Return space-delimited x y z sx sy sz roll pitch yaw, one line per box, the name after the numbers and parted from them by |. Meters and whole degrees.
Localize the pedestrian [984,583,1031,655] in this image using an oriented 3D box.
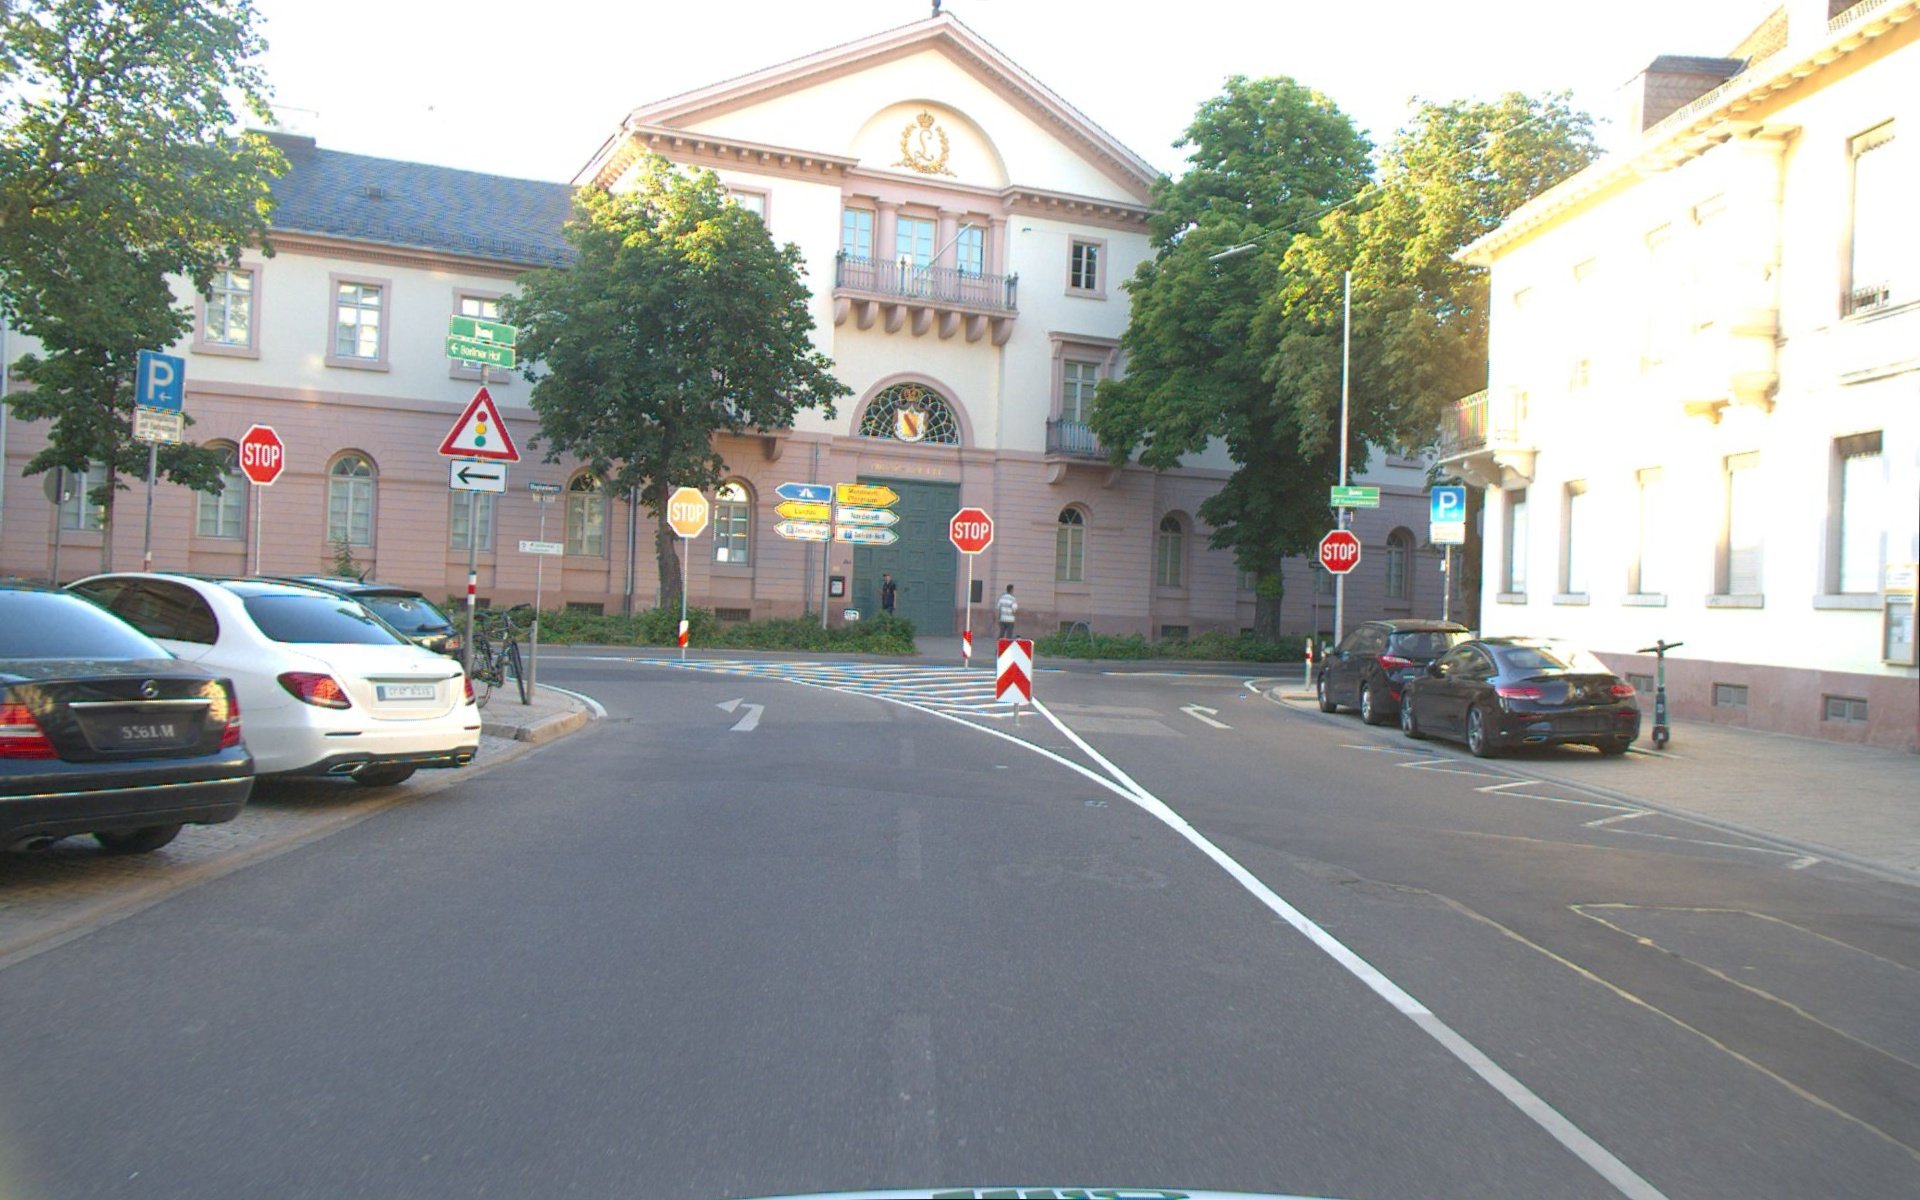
1.255 0.501 43.781 0.916 1.864 0.793 2 0 -28 | pedestrian

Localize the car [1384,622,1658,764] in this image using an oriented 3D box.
6.848 1.066 20.786 1.737 1.419 4.857 3 0 0 | car

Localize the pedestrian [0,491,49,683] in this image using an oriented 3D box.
-9.281 -0.141 15.410 1.253 1.769 0.839 1 2 -38 | pedestrian

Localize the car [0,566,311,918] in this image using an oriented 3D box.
-5.589 0.547 8.565 4.153 1.473 1.710 2 0 24 | car

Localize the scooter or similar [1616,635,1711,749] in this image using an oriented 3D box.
8.403 1.074 19.820 0.589 1.254 1.771 -1 0 8 | scooter or similar

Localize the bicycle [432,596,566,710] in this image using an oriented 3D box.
-5.088 0.570 18.390 0.710 1.145 1.805 5 0 7 | bicycle

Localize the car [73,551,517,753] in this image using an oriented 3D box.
-6.427 0.448 16.015 3.774 1.486 1.740 5 1 22 | car

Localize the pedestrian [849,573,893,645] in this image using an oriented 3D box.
-2.382 0.239 44.225 0.788 1.871 1.074 2 0 -24 | pedestrian

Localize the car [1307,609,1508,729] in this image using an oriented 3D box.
6.773 0.984 25.521 1.765 1.568 4.430 3 0 -1 | car

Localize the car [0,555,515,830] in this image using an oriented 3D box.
-5.664 0.550 12.166 4.524 1.538 1.767 4 0 26 | car

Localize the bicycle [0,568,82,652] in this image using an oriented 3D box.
-15.513 0.128 26.323 2.517 1.289 0.844 2 0 -10 | bicycle
